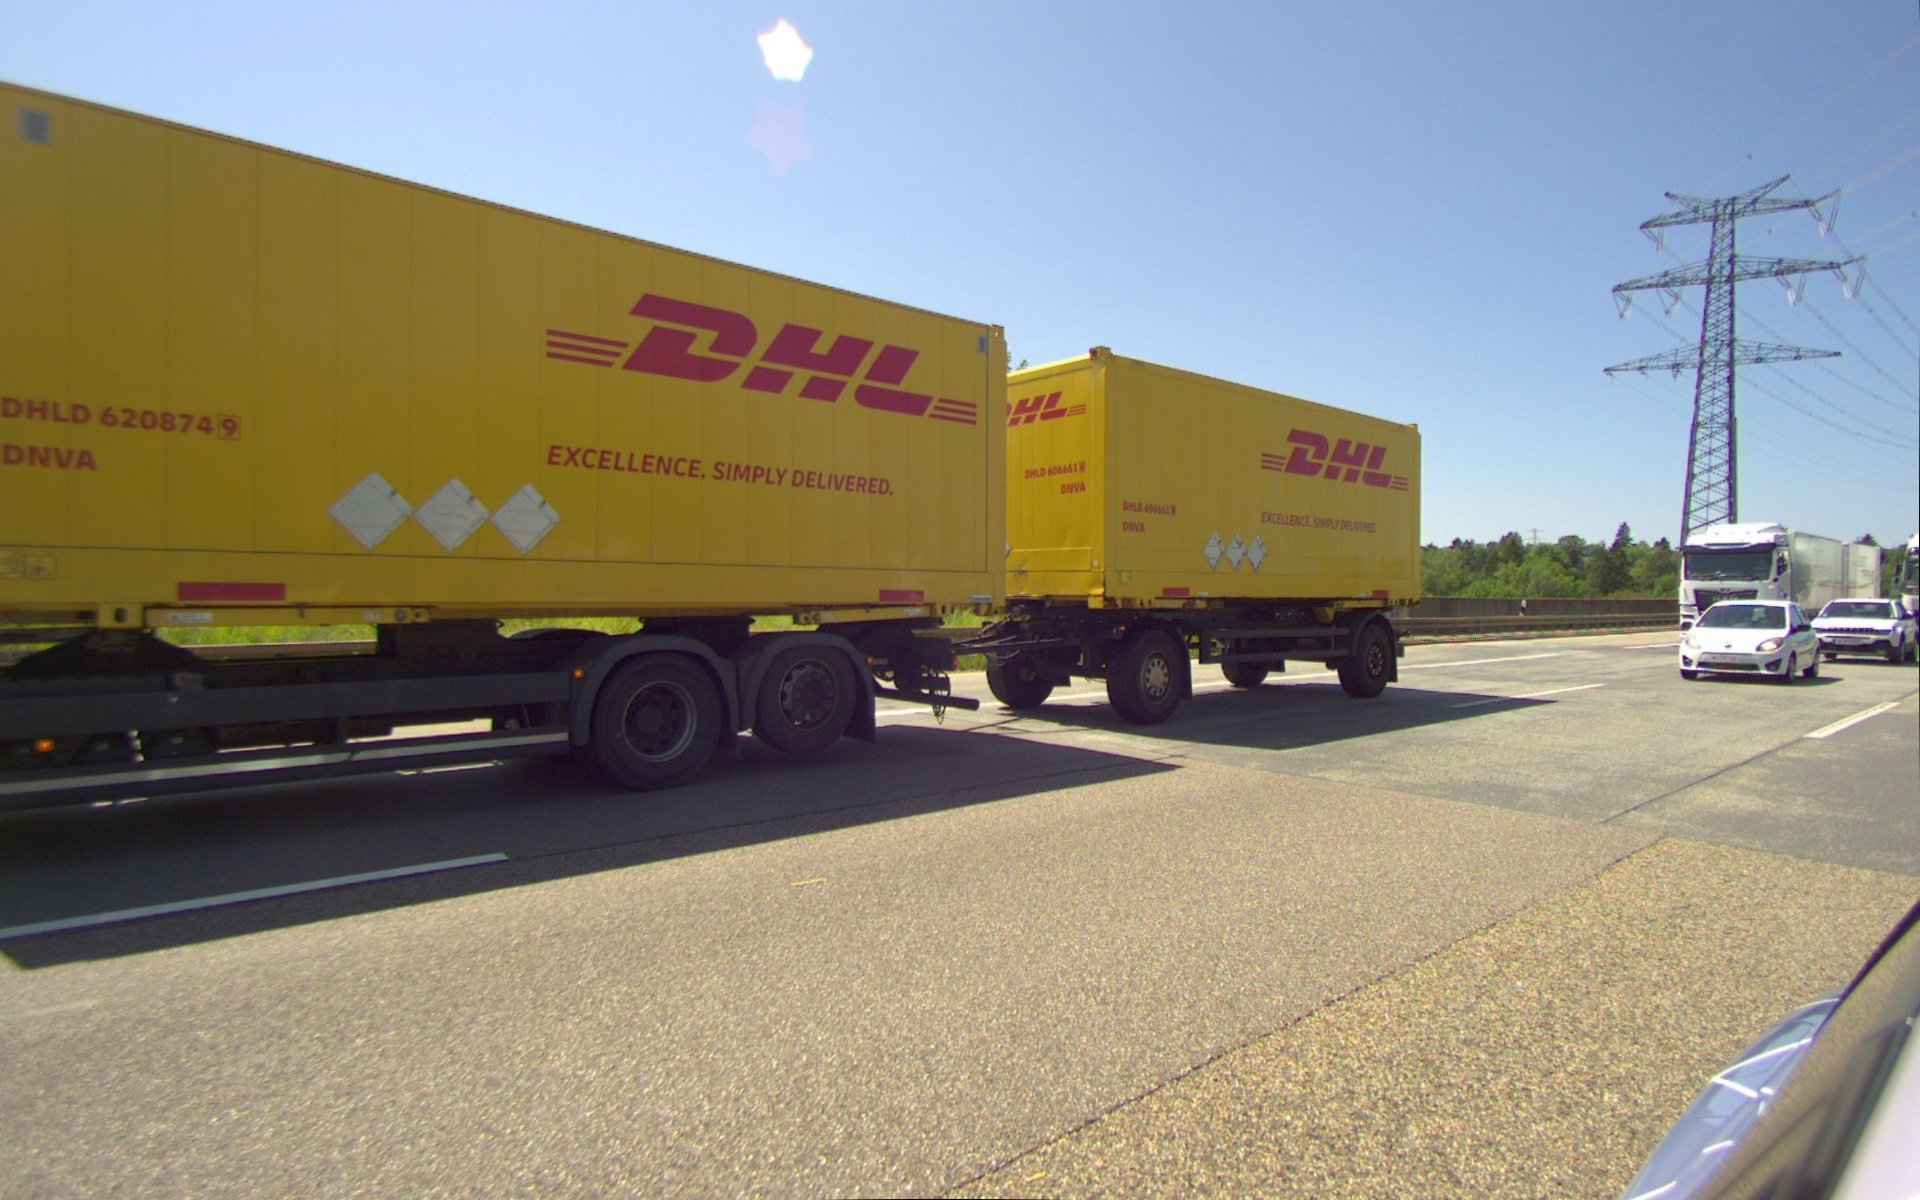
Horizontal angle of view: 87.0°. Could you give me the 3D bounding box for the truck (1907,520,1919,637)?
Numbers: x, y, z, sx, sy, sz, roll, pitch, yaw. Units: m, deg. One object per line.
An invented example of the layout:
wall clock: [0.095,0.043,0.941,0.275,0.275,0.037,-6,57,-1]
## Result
truck: [39.668,-0.748,39.141,14.000,4.090,2.716,0,0,-40]

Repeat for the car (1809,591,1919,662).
car: [21.907,0.571,24.236,3.783,1.549,1.775,-1,1,-40]

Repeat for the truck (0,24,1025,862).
truck: [-3.981,-0.778,7.528,9.777,4.161,2.770,1,0,-41]

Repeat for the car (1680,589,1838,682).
car: [14.946,0.575,18.875,3.759,1.529,1.658,-1,1,-41]

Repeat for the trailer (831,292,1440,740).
trailer: [2.930,-0.767,13.471,9.211,4.170,2.770,1,0,-41]

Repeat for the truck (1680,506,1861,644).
truck: [27.283,-0.741,33.773,11.098,3.980,2.693,0,0,-41]

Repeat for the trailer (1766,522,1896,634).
trailer: [34.395,-0.815,39.845,7.636,3.991,2.750,0,0,-40]
